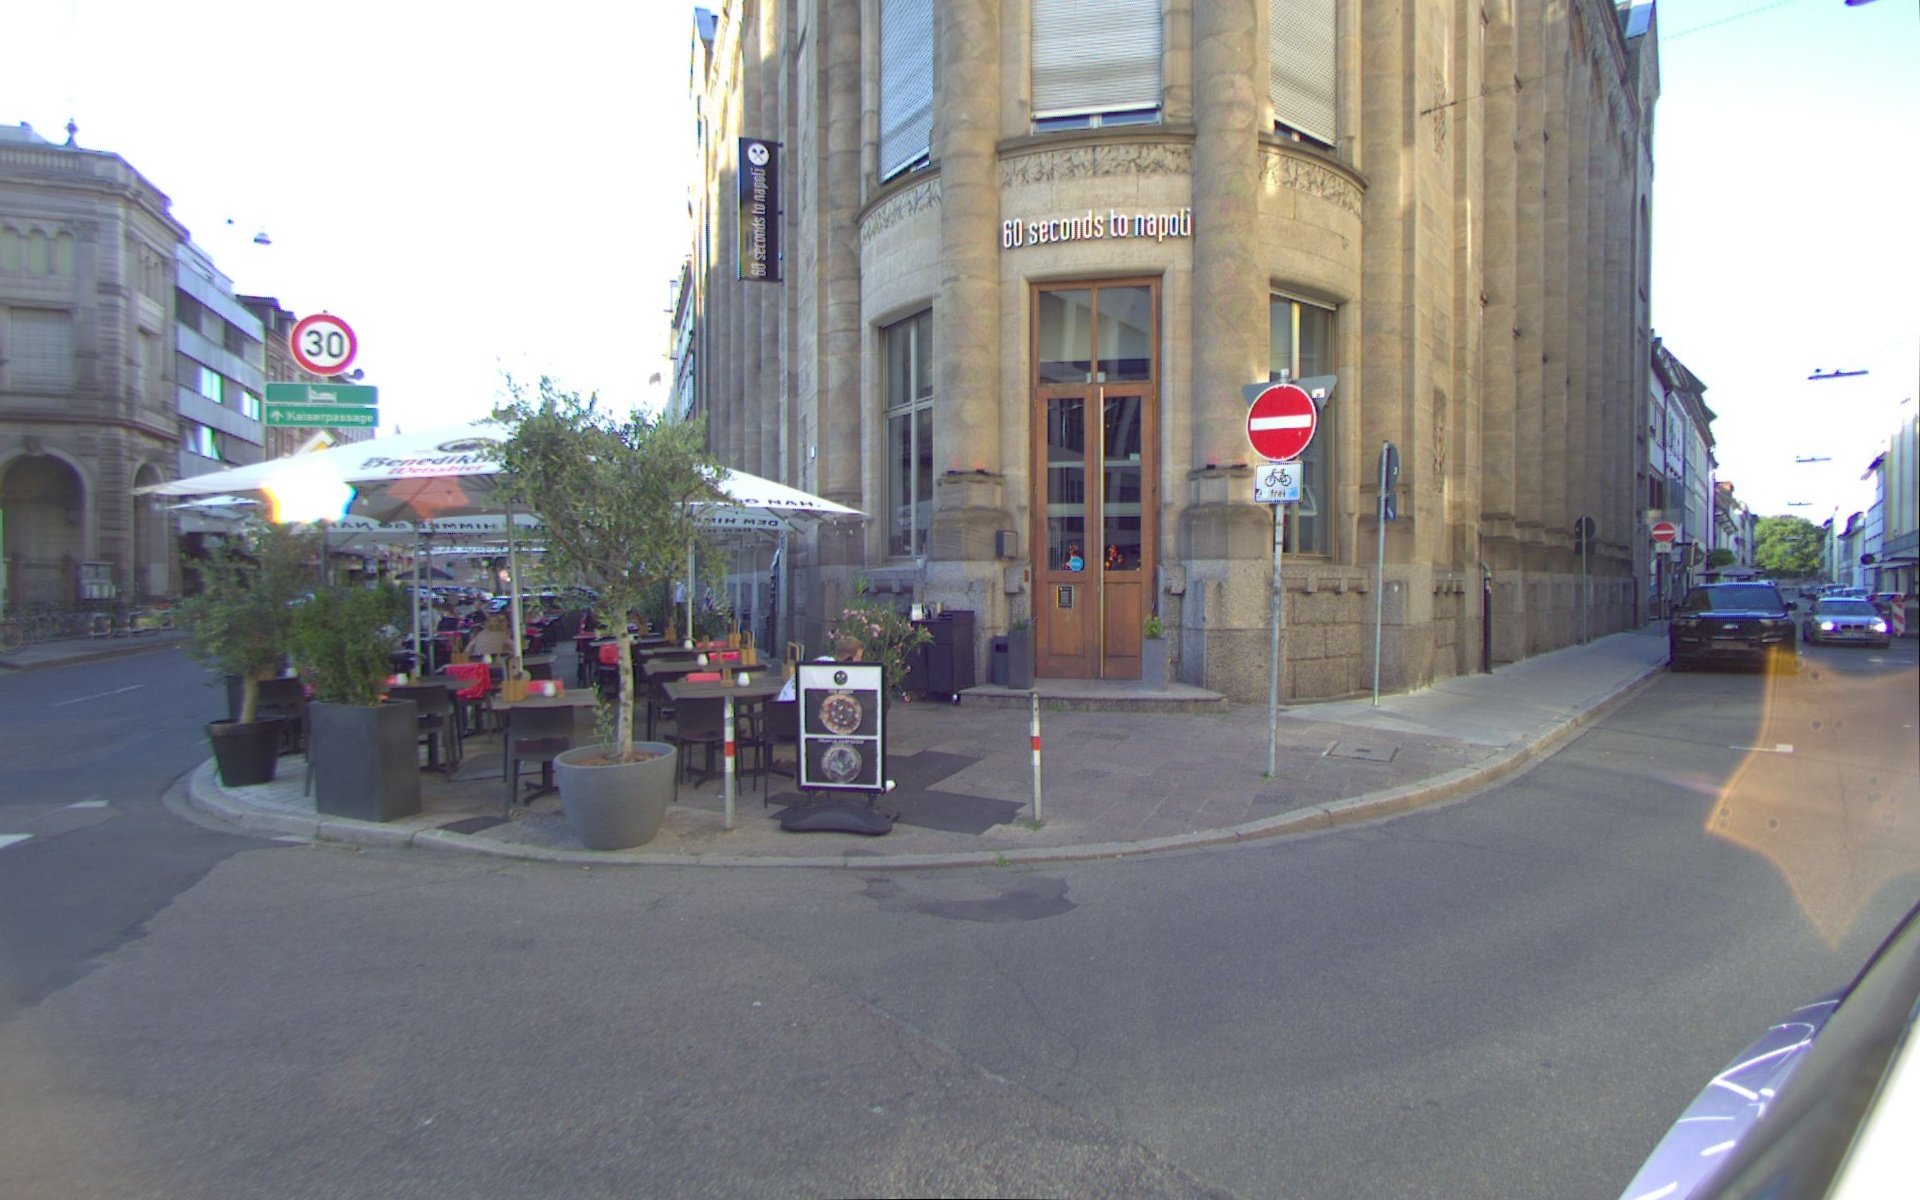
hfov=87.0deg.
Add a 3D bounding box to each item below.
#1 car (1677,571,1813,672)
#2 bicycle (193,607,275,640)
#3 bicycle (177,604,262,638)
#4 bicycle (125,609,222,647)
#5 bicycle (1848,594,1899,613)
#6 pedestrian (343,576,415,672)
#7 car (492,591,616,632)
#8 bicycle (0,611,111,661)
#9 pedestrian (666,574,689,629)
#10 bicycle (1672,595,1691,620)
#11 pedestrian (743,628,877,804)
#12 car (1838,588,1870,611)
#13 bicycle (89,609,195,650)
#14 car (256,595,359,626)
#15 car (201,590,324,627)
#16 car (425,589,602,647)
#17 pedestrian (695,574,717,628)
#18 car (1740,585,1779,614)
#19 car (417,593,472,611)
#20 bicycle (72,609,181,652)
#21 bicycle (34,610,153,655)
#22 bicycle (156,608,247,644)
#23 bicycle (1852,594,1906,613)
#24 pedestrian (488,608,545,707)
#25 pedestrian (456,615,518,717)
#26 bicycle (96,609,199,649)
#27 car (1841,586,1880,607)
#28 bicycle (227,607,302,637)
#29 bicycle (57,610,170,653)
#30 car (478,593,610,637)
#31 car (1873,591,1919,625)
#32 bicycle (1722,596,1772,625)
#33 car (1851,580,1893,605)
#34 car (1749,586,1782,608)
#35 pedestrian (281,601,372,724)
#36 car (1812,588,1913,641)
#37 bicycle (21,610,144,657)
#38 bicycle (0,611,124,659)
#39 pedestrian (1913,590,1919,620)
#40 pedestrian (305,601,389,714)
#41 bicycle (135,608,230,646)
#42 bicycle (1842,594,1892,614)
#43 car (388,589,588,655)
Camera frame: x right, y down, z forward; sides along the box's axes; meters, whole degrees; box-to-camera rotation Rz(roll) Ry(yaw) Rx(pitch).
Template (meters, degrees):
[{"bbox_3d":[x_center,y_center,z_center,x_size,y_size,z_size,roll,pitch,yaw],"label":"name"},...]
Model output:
[{"bbox_3d":[16.094,0.381,20.797,1.989,1.806,4.866,0,0,38],"label":"car"},{"bbox_3d":[-25.988,0.843,36.259,2.254,1.104,0.718,-1,0,-22],"label":"bicycle"},{"bbox_3d":[-25.732,0.721,35.210,2.254,1.104,0.718,-1,0,-22],"label":"bicycle"},{"bbox_3d":[-24.271,0.841,31.272,2.254,1.104,0.718,-1,0,-22],"label":"bicycle"},{"bbox_3d":[60.526,0.246,67.086,0.771,1.193,2.477,-1,0,-44],"label":"bicycle"},{"bbox_3d":[-7.888,0.320,13.744,0.680,1.261,0.594,0,-1,31],"label":"pedestrian"},{"bbox_3d":[-15.400,0.401,38.557,1.746,1.430,4.088,-1,0,38],"label":"car"},{"bbox_3d":[-21.634,0.836,23.941,2.254,1.104,0.718,-1,0,-22],"label":"bicycle"},{"bbox_3d":[-9.108,0.029,32.617,0.616,1.752,0.598,0,0,-25],"label":"pedestrian"},{"bbox_3d":[33.089,0.320,46.405,0.518,1.103,1.727,4,3,39],"label":"bicycle"},{"bbox_3d":[-1.124,0.825,7.590,0.807,1.204,0.607,0,-1,-40],"label":"pedestrian"},{"bbox_3d":[82.074,-0.041,92.971,1.990,2.067,4.395,-1,0,39],"label":"car"},{"bbox_3d":[-23.658,0.841,29.309,2.254,1.104,0.718,-1,0,-22],"label":"bicycle"},{"bbox_3d":[-31.847,0.493,49.514,3.916,1.430,1.759,-1,0,-18],"label":"car"},{"bbox_3d":[-29.200,0.347,42.483,3.916,1.430,1.759,-1,0,-18],"label":"car"},{"bbox_3d":[-12.001,0.439,27.395,1.746,1.430,4.051,-1,0,38],"label":"car"},{"bbox_3d":[-8.268,0.028,32.916,0.585,1.752,0.630,0,0,-23],"label":"pedestrian"},{"bbox_3d":[53.545,-0.055,67.762,1.990,1.869,3.943,-1,0,39],"label":"car"},{"bbox_3d":[-43.270,0.150,84.999,3.916,1.430,1.759,-1,0,-18],"label":"car"},{"bbox_3d":[-23.375,0.841,28.425,2.254,1.104,0.718,-1,0,-22],"label":"bicycle"},{"bbox_3d":[-22.723,0.840,26.582,2.254,1.104,0.718,-1,0,-22],"label":"bicycle"},{"bbox_3d":[-24.869,0.841,33.217,2.254,1.104,0.718,-1,0,-22],"label":"bicycle"},{"bbox_3d":[58.071,0.245,63.992,0.771,1.193,2.477,-1,0,-44],"label":"bicycle"},{"bbox_3d":[-5.833,0.733,13.331,0.588,1.261,0.687,0,-1,-15],"label":"pedestrian"},{"bbox_3d":[-5.790,0.796,12.410,0.588,1.204,0.574,0,-1,-15],"label":"pedestrian"},{"bbox_3d":[-24.142,0.845,30.115,2.254,1.104,0.718,-1,0,-22],"label":"bicycle"},{"bbox_3d":[67.919,-0.267,76.401,1.990,1.490,4.395,-1,0,39],"label":"car"},{"bbox_3d":[-26.829,0.842,39.083,2.254,1.104,0.718,-1,0,-22],"label":"bicycle"},{"bbox_3d":[-23.001,0.840,27.551,2.254,1.104,0.718,-1,0,-22],"label":"bicycle"},{"bbox_3d":[-14.604,0.500,35.676,1.746,1.430,3.976,-1,0,38],"label":"car"},{"bbox_3d":[42.589,0.326,45.686,1.713,1.479,4.079,-1,0,38],"label":"car"},{"bbox_3d":[38.881,0.510,50.033,1.868,1.318,0.588,5,3,41],"label":"bicycle"},{"bbox_3d":[64.719,-0.526,71.861,1.990,1.698,4.395,-1,0,39],"label":"car"},{"bbox_3d":[63.296,-0.206,79.513,1.990,1.698,4.395,-1,0,39],"label":"car"},{"bbox_3d":[-6.817,0.647,10.900,0.680,1.261,0.594,0,-1,31],"label":"pedestrian"},{"bbox_3d":[26.447,0.400,29.783,1.990,1.440,4.395,-1,0,39],"label":"car"},{"bbox_3d":[-22.317,0.838,25.790,2.254,1.104,0.718,-1,0,-22],"label":"bicycle"},{"bbox_3d":[-21.950,0.837,24.718,2.254,1.104,0.718,-1,0,-22],"label":"bicycle"},{"bbox_3d":[35.387,0.181,37.058,0.607,1.076,0.541,-1,0,32],"label":"pedestrian"},{"bbox_3d":[-7.156,0.648,11.821,0.680,1.261,0.594,0,-1,31],"label":"pedestrian"},{"bbox_3d":[-24.595,0.842,32.067,2.254,1.104,0.718,-1,0,-22],"label":"bicycle"},{"bbox_3d":[62.177,0.253,69.395,0.771,1.347,2.477,-1,0,-44],"label":"bicycle"},{"bbox_3d":[-11.194,0.475,24.233,1.746,1.430,4.013,-1,0,38],"label":"car"}]
